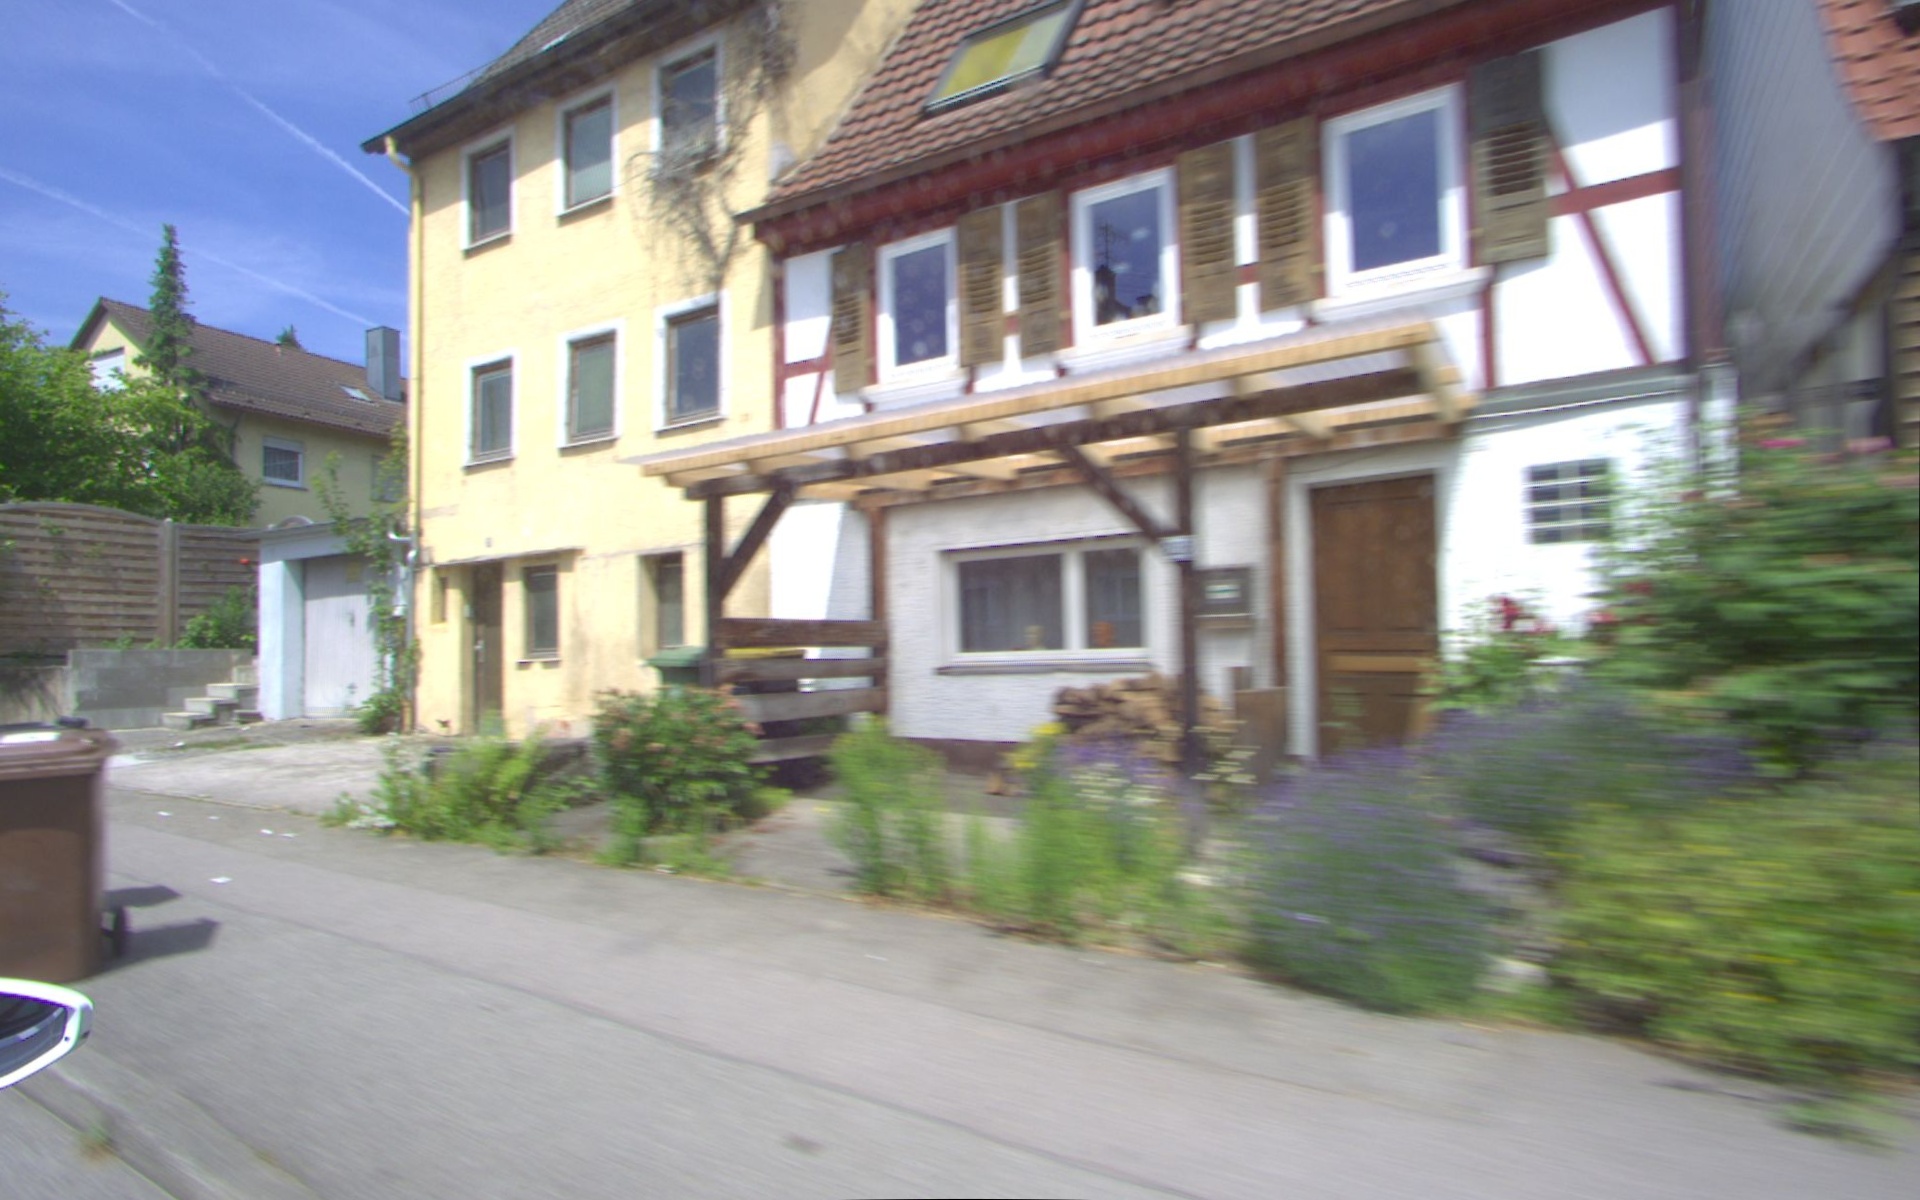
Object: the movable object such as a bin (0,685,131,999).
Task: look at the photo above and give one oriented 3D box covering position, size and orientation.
[{"bbox_3d":[-3.510,0.884,3.782,0.489,1.048,0.544,-3,3,-35],"label":"movable object such as a bin"}]
